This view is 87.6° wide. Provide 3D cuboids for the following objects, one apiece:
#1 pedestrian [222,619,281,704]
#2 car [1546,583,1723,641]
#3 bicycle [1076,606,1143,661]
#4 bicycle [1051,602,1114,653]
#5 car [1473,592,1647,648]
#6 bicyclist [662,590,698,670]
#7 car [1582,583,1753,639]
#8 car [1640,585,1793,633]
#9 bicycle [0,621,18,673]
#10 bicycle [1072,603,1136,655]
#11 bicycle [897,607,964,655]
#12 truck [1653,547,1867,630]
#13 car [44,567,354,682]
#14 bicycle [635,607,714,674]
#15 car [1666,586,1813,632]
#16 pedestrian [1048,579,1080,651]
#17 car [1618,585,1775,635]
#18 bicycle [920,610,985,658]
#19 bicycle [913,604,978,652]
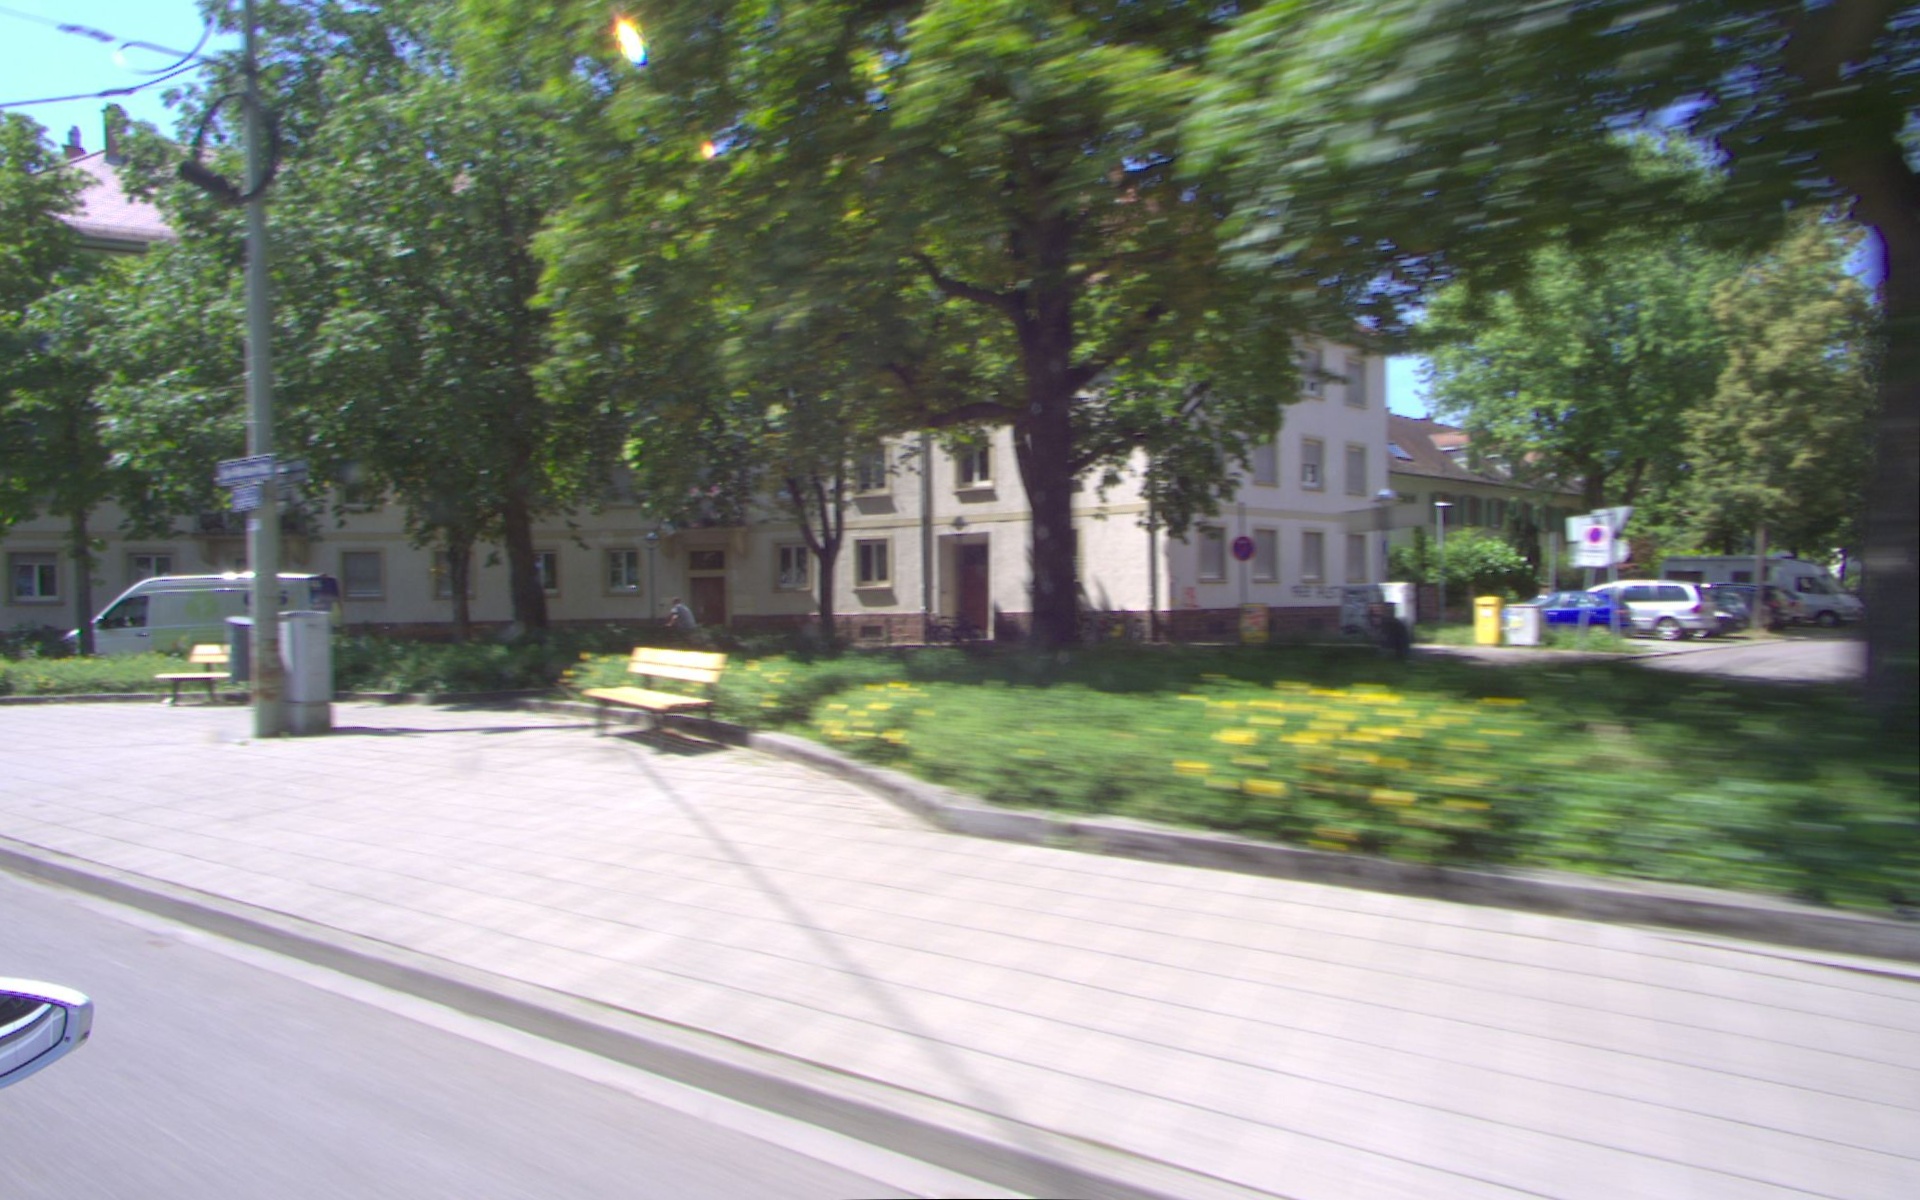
[{"bbox_3d":[-9.774,0.836,13.822,0.472,1.107,0.507,1,3,36],"label":"pedestrian"},{"bbox_3d":[20.681,0.324,30.834,1.708,1.674,4.228,0,1,-40],"label":"car"},{"bbox_3d":[3.721,0.808,24.772,0.541,1.317,2.141,-1,0,41],"label":"bicycle"},{"bbox_3d":[3.270,0.707,26.564,0.541,1.317,2.141,-1,0,41],"label":"bicycle"},{"bbox_3d":[16.684,0.507,27.984,1.708,1.449,3.854,0,1,-40],"label":"car"},{"bbox_3d":[-6.496,0.700,23.224,0.527,1.823,0.600,-1,0,36],"label":"bicyclist"},{"bbox_3d":[22.759,0.314,32.348,1.708,1.674,4.228,0,1,-40],"label":"car"},{"bbox_3d":[27.756,0.293,36.856,1.708,1.674,4.228,0,1,-40],"label":"car"},{"bbox_3d":[-23.861,1.141,23.784,2.055,1.253,0.578,0,0,-27],"label":"bicycle"},{"bbox_3d":[3.755,0.730,26.006,0.541,1.317,2.141,-1,0,41],"label":"bicycle"},{"bbox_3d":[-0.850,0.902,29.507,0.509,1.362,2.309,-1,0,41],"label":"bicycle"},{"bbox_3d":[33.484,-0.469,42.204,1.913,3.196,6.772,-1,1,-39],"label":"truck"},{"bbox_3d":[-18.445,0.569,24.576,5.740,2.624,1.999,-1,0,-10],"label":"car"},{"bbox_3d":[-6.688,0.924,23.384,2.140,1.505,0.589,-1,0,36],"label":"bicycle"},{"bbox_3d":[30.033,0.330,38.683,1.708,1.674,4.228,0,1,-40],"label":"car"},{"bbox_3d":[3.015,0.436,28.981,0.792,2.040,0.773,-1,0,-3],"label":"pedestrian"},{"bbox_3d":[26.181,0.315,35.715,1.708,1.674,4.228,0,1,-40],"label":"car"},{"bbox_3d":[-0.195,0.939,28.446,0.541,1.317,2.141,-1,0,41],"label":"bicycle"},{"bbox_3d":[-0.397,0.795,29.096,0.509,1.365,2.225,-1,0,41],"label":"bicycle"}]
